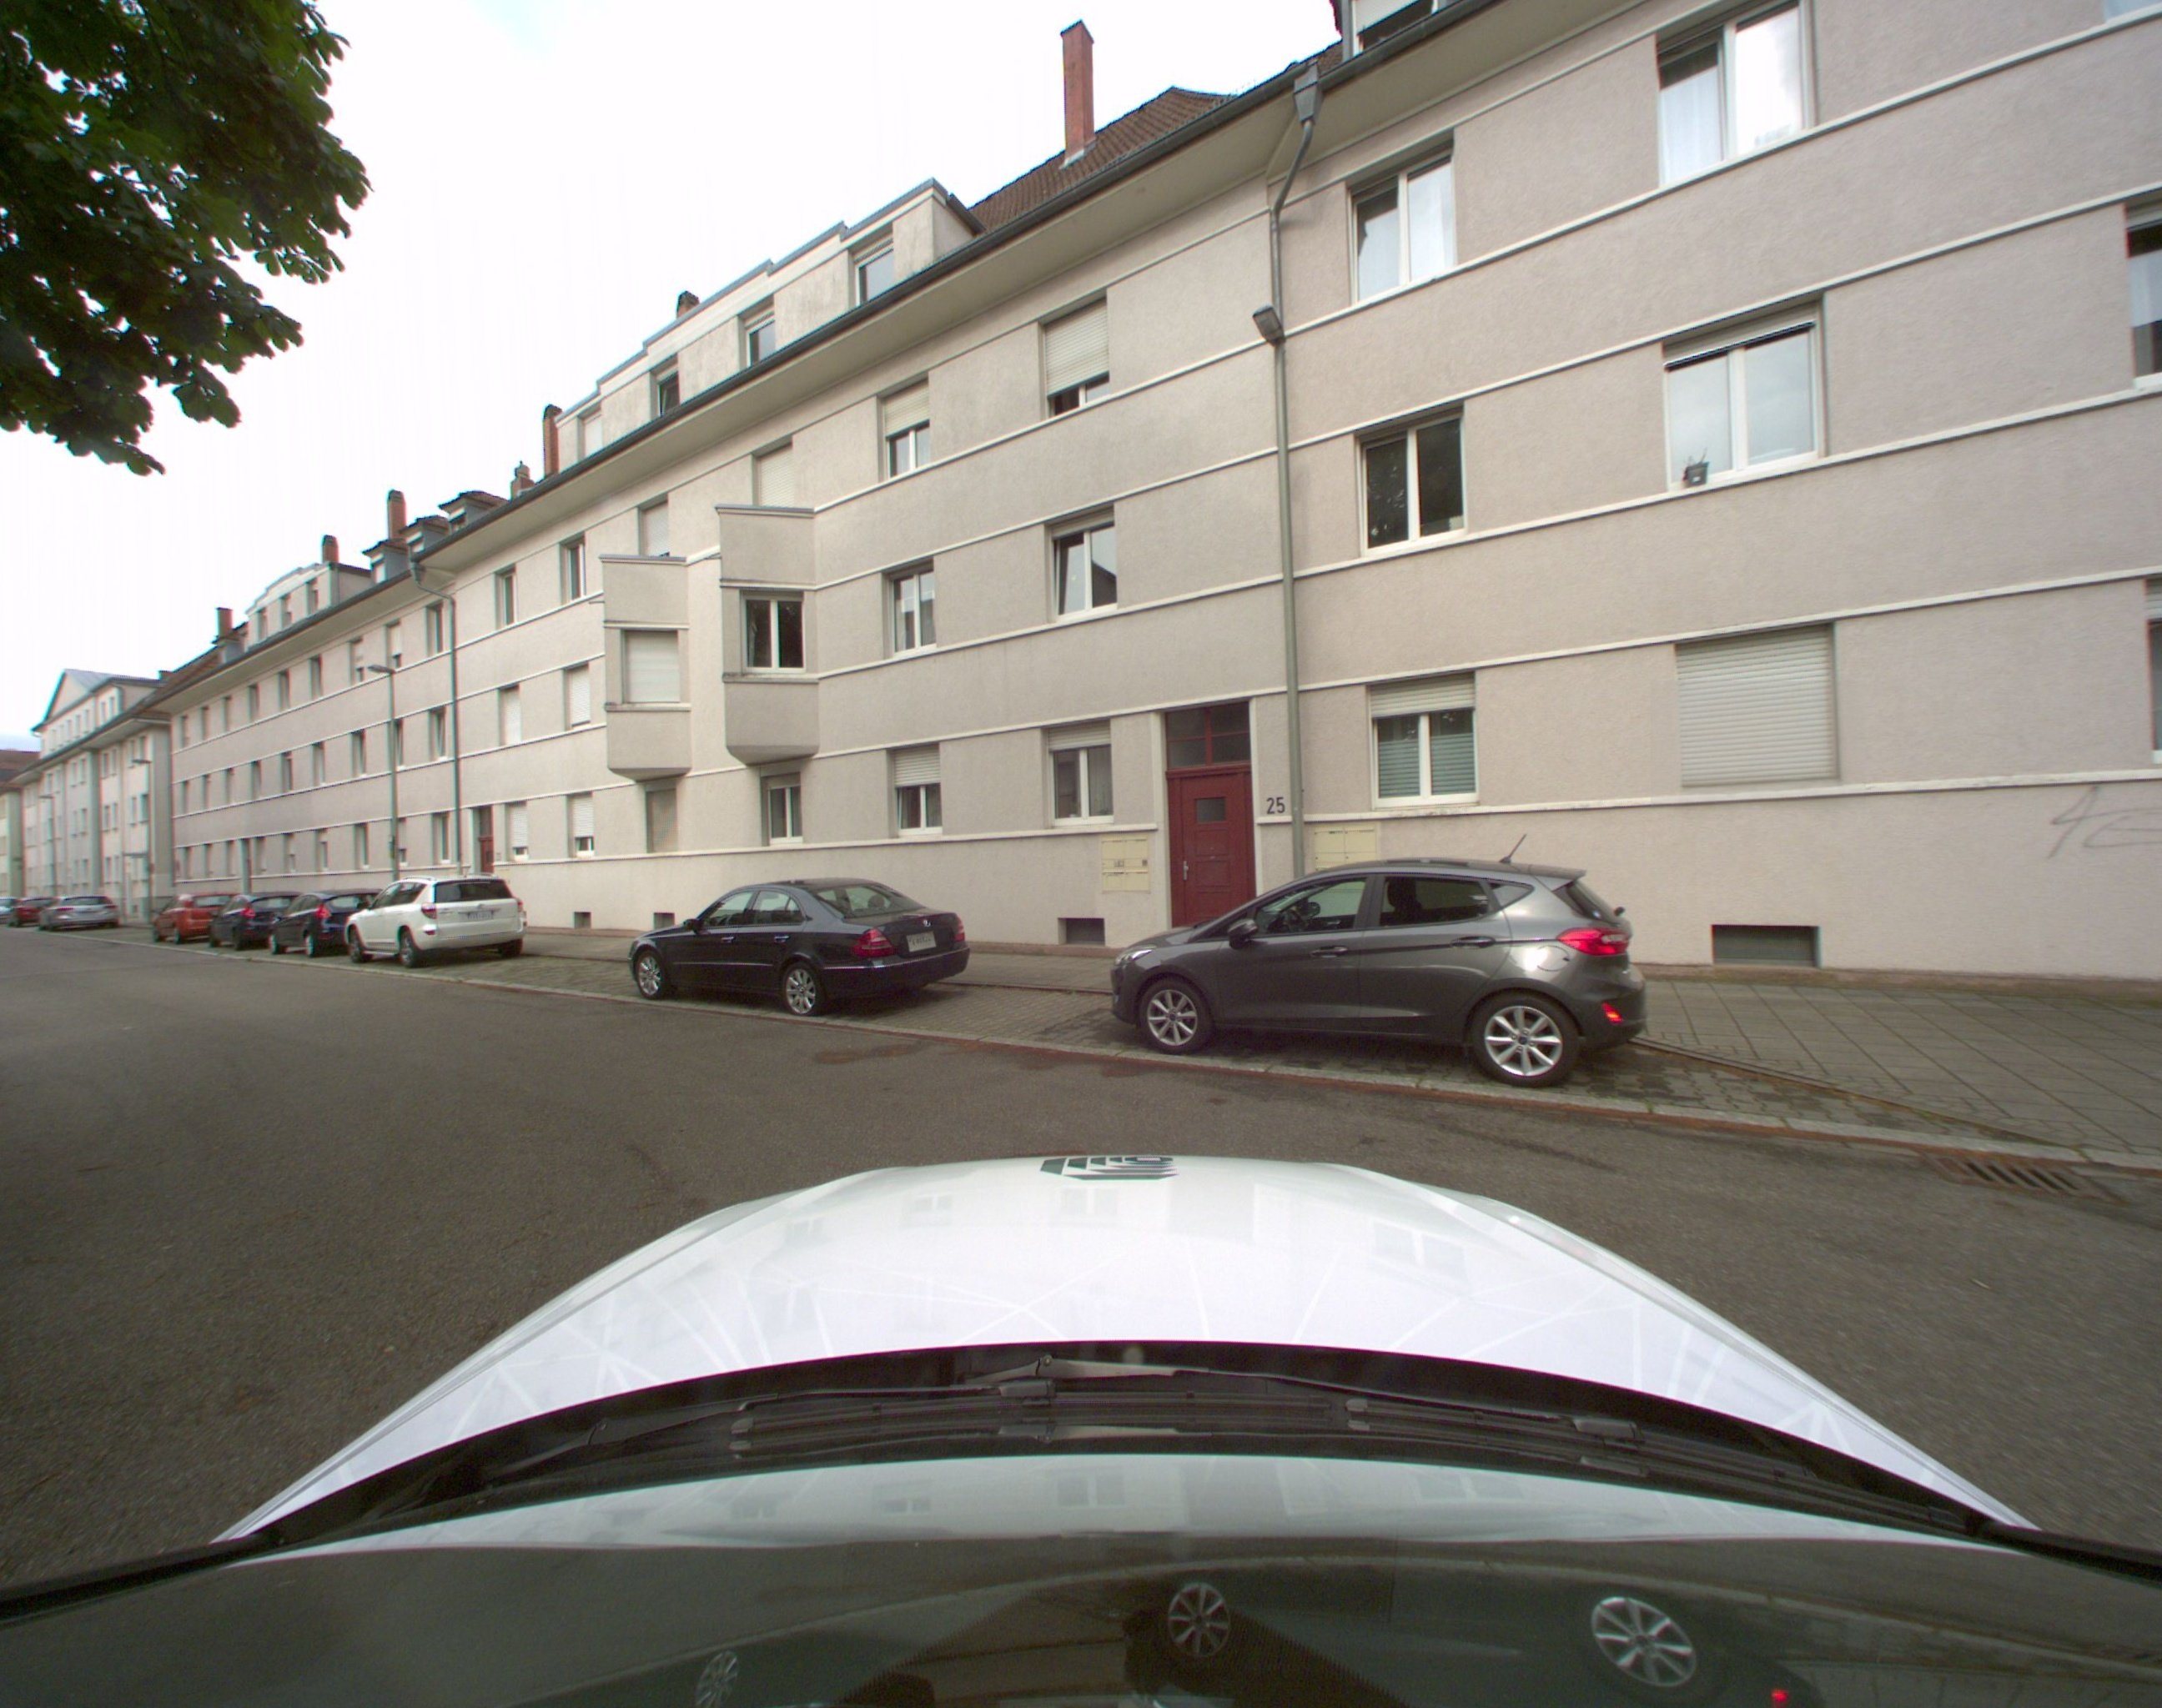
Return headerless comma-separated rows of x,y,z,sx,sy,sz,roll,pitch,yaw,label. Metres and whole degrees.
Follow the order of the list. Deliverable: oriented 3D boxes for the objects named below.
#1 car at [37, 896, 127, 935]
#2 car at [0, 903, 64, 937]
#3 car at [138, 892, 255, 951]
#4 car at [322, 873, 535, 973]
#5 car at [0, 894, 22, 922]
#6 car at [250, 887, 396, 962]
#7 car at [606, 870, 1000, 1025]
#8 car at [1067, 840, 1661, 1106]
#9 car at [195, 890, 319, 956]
-42.539,2.560,34.652,4.541,1.467,1.772,-2,-1,31,car
-51.395,3.166,39.702,3.948,1.420,1.686,-2,2,31,car
-26.671,1.969,24.544,3.776,1.525,1.713,-2,1,33,car
-13.001,1.287,16.191,4.234,1.673,1.860,-2,1,31,car
-61.114,3.031,45.610,3.704,1.504,1.837,-2,-1,32,car
-17.682,1.571,18.961,3.820,1.478,1.582,-2,0,33,car
-3.505,0.979,9.923,4.886,1.420,1.762,-2,1,31,car
2.094,0.725,6.541,4.026,1.525,1.774,-2,1,31,car
-22.125,1.794,21.838,3.648,1.473,1.583,-2,3,34,car
